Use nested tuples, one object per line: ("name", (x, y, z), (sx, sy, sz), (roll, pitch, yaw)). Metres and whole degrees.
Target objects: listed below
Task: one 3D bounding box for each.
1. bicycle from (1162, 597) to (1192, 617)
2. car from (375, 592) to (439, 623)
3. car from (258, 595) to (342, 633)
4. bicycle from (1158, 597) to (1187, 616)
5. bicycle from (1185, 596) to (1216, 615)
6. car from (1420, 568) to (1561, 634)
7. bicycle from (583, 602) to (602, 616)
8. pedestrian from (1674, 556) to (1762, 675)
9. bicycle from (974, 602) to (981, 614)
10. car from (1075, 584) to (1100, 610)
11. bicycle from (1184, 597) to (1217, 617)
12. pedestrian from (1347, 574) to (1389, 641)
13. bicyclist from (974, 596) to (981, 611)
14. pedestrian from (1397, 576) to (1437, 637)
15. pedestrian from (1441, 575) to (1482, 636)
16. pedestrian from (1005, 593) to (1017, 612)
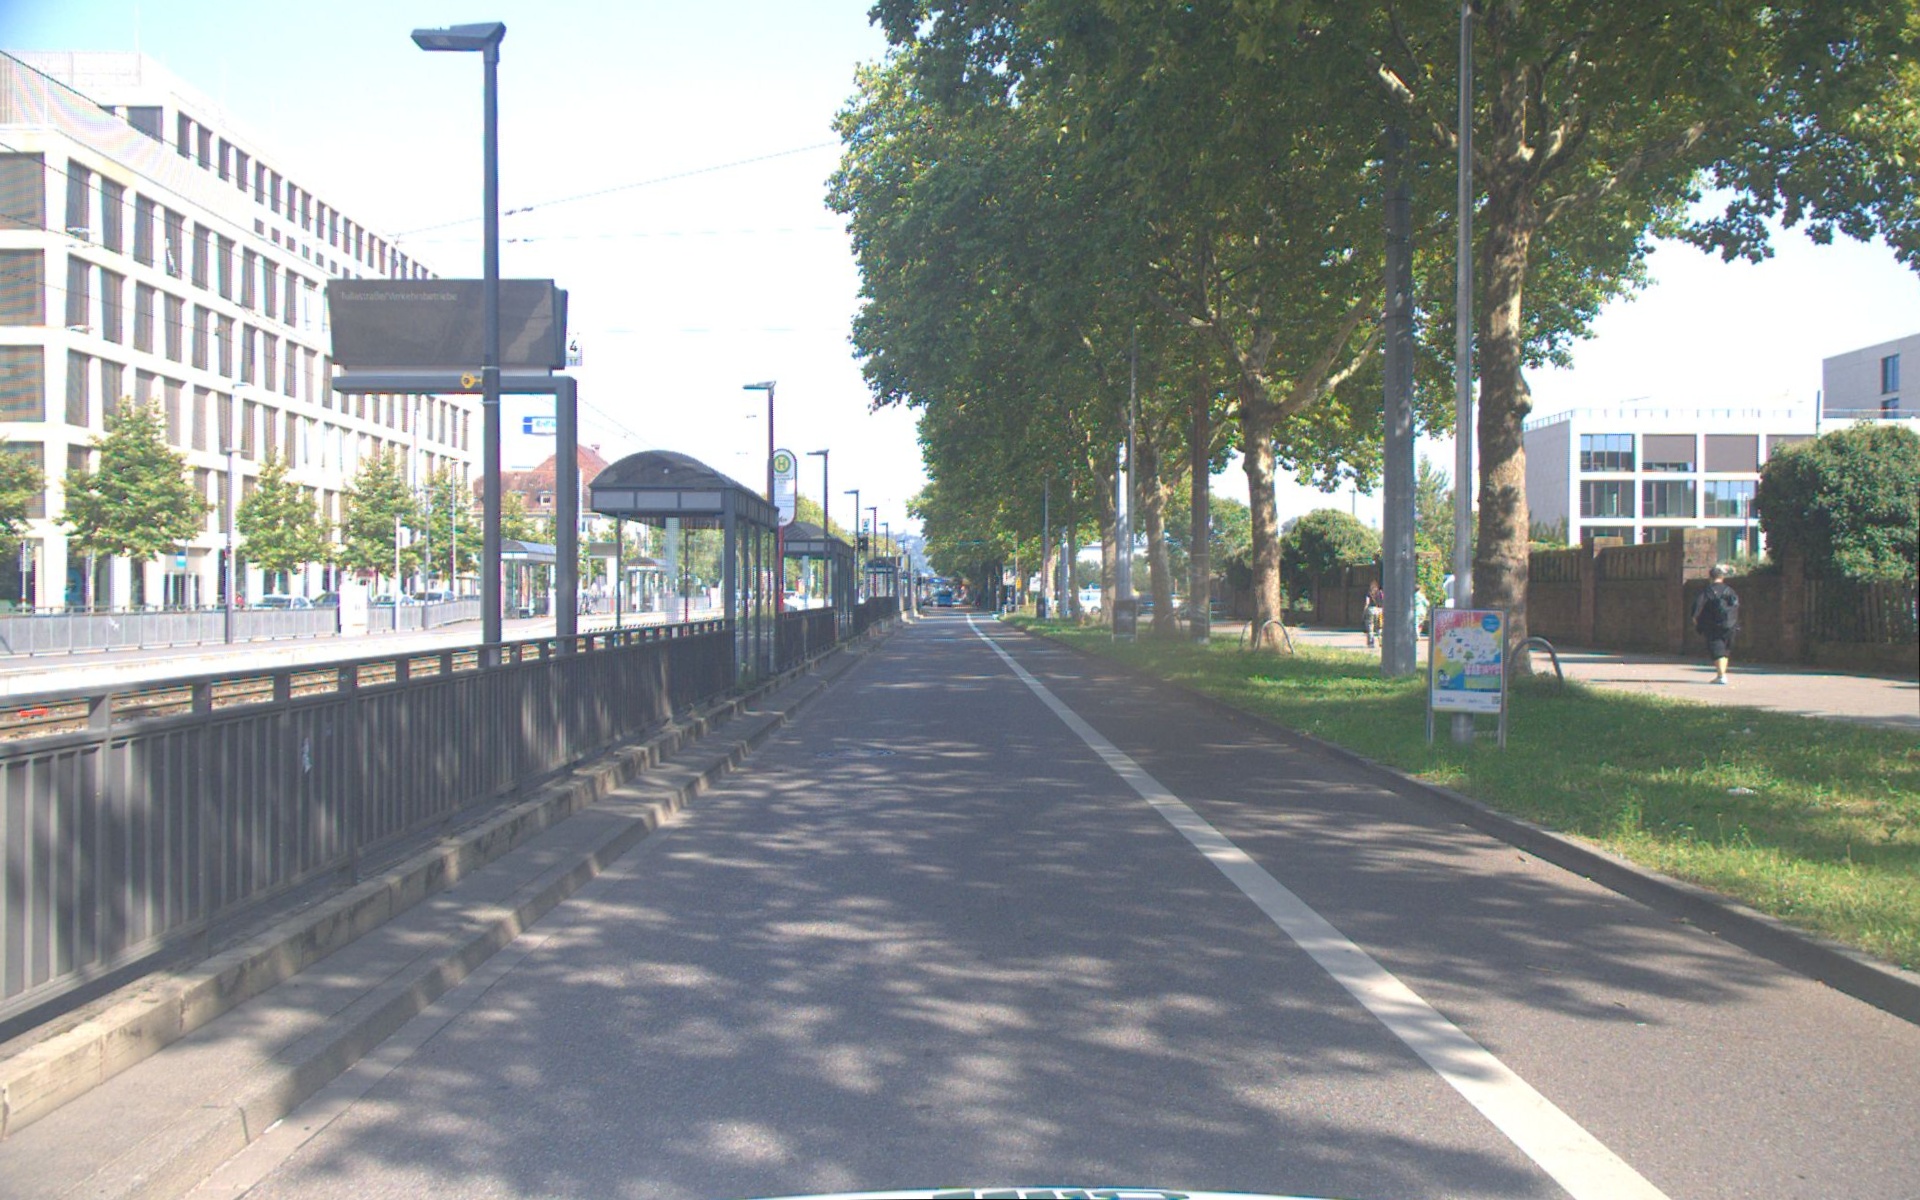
("bicycle", (11.503, 0.371, 87.802), (0.502, 0.986, 1.636), (-2, 0, -42))
("car", (-25.395, 0.325, 76.062), (1.609, 1.401, 4.222), (-1, 0, -1))
("car", (-25.450, 0.516, 63.884), (1.609, 1.401, 4.222), (-1, 0, -1))
("bicycle", (11.444, 0.339, 89.078), (0.502, 0.986, 1.636), (-2, 0, -42))
("bicycle", (13.109, 0.301, 90.106), (1.622, 0.986, 0.506), (-2, 0, 2))
("car", (19.656, 0.041, 61.379), (4.567, 2.359, 2.055), (1, 0, -1))
("bicycle", (-17.824, 0.421, 80.228), (0.467, 0.674, 1.614), (0, 0, 4))
("pedestrian", (11.238, 0.221, 24.554), (0.802, 1.716, 1.012), (-1, 0, -1))
("bicycle", (1.698, 0.788, 162.147), (0.700, 1.127, 2.508), (1, 0, 0))
("car", (10.734, -0.247, 139.543), (1.686, 2.084, 4.461), (0, 0, 0))
("bicycle", (12.438, 0.354, 85.401), (1.621, 0.986, 0.506), (-2, 0, 5))
("pedestrian", (10.315, 0.192, 41.859), (0.790, 1.665, 0.947), (-2, 0, 0))
("bicyclist", (1.698, 0.320, 162.102), (0.691, 1.486, 1.009), (1, 0, 0))
("pedestrian", (12.556, 0.168, 45.431), (0.790, 1.632, 0.947), (-2, 0, 0))
("pedestrian", (13.742, 0.143, 45.369), (0.790, 1.632, 0.947), (-2, 0, 0))
("pedestrian", (4.411, 0.236, 142.585), (0.614, 1.646, 0.842), (-1, 0, 37))
